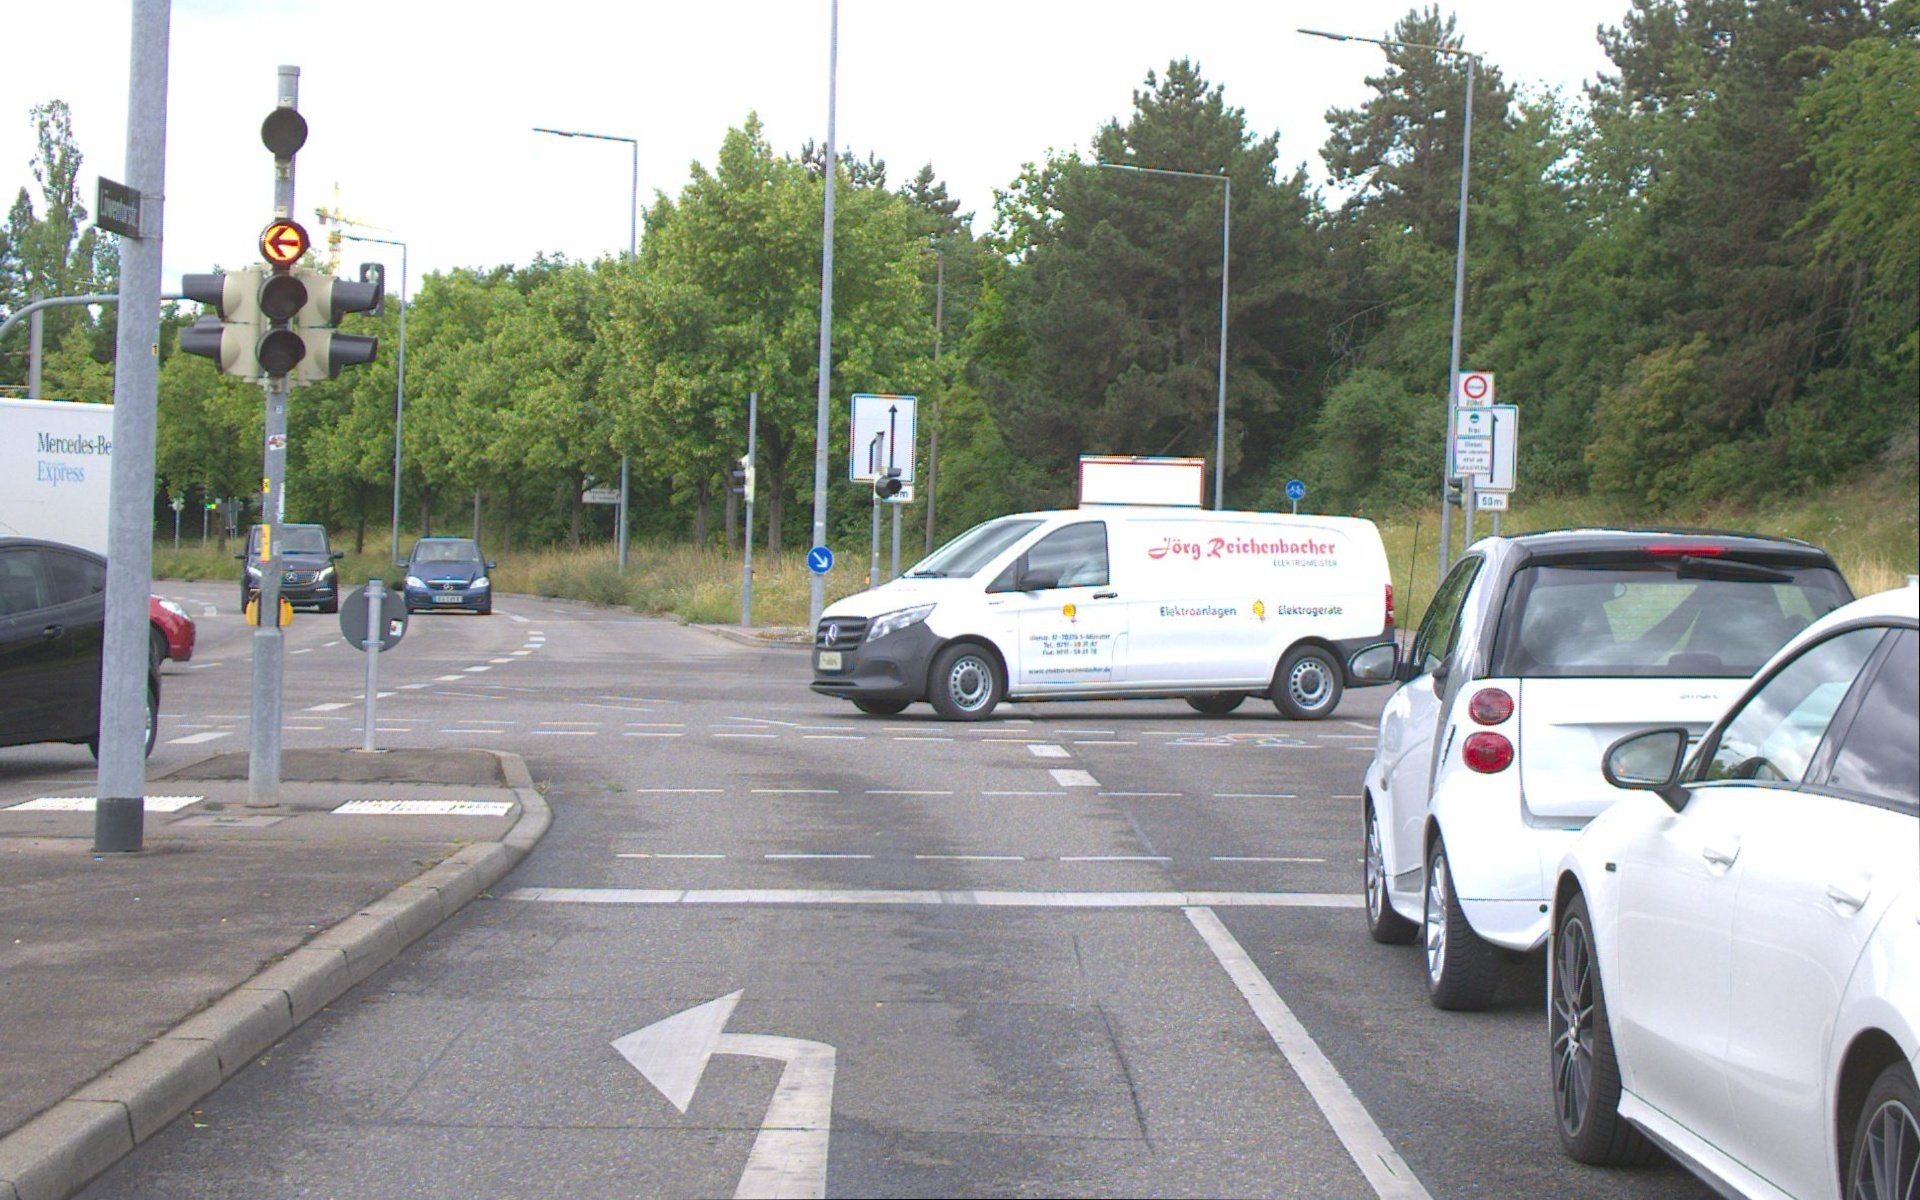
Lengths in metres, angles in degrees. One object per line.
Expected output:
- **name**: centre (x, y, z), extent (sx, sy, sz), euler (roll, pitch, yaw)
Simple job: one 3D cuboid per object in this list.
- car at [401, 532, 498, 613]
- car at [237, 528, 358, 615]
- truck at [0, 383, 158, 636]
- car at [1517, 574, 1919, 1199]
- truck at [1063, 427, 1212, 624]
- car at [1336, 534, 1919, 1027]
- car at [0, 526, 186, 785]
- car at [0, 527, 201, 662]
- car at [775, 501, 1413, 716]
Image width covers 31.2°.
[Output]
- **car**: centre (-10.511, -0.584, 70.834), extent (1.915, 1.571, 4.001), euler (0, 2, -8)
- **car**: centre (-13.816, -0.623, 71.892), extent (1.915, 1.722, 4.001), euler (1, 1, -3)
- **truck**: centre (-15.162, -1.333, 49.338), extent (2.662, 3.636, 9.495), euler (2, 1, 17)
- **car**: centre (2.305, 0.697, 6.595), extent (1.721, 1.417, 4.357), euler (1, 1, 0)
- **truck**: centre (3.446, -1.482, 66.657), extent (2.683, 3.586, 7.263), euler (1, 2, 3)
- **car**: centre (2.229, 0.533, 11.873), extent (1.535, 1.499, 2.670), euler (1, 1, 0)
- **car**: centre (-6.252, 0.308, 20.274), extent (1.635, 1.474, 3.775), euler (2, 1, 17)
- **car**: centre (-10.896, -0.057, 39.396), extent (3.986, 1.511, 1.732), euler (0, -1, -26)
- **car**: centre (1.230, 0.112, 30.993), extent (5.417, 1.809, 2.000), euler (1, -1, -25)
